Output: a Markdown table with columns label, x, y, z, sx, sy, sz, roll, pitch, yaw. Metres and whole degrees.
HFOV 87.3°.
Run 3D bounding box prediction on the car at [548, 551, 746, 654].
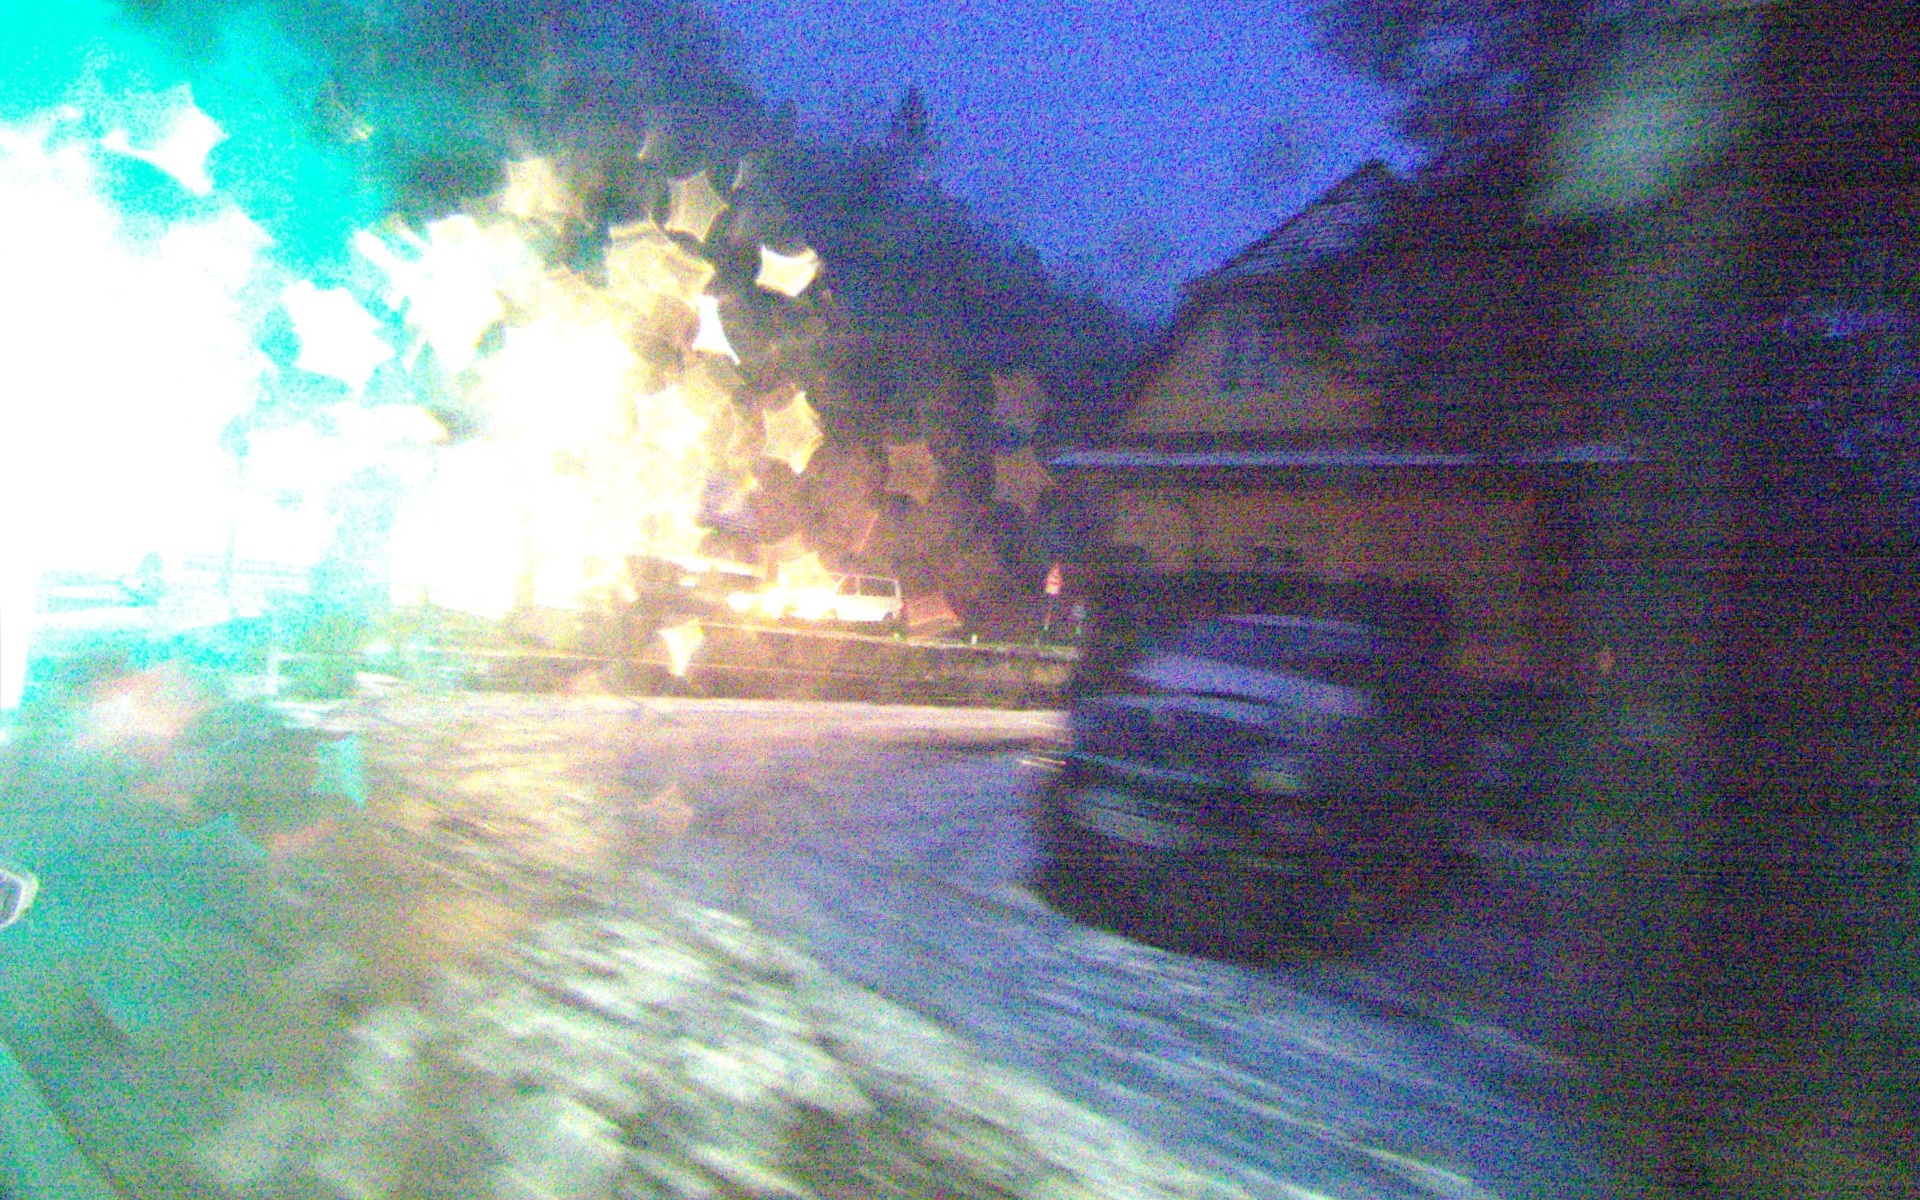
| label | x | y | z | sx | sy | sz | roll | pitch | yaw |
| --- | --- | --- | --- | --- | --- | --- | --- | --- | --- |
| car | -7.588 | 0.126 | 24.747 | 1.750 | 1.970 | 4.241 | 7 | -1 | 37 |

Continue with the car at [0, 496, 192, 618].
| label | x | y | z | sx | sy | sz | roll | pitch | yaw |
| --- | --- | --- | --- | --- | --- | --- | --- | --- | --- |
| car | -13.100 | -0.638 | 13.935 | 1.883 | 1.528 | 4.237 | 7 | -2 | -7 |

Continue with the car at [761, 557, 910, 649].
| label | x | y | z | sx | sy | sz | roll | pitch | yaw |
| --- | --- | --- | --- | --- | --- | --- | --- | --- | --- |
| car | -4.188 | 0.166 | 34.726 | 2.142 | 2.469 | 4.850 | 6 | -3 | 36 |

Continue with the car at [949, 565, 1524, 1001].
| label | x | y | z | sx | sy | sz | roll | pitch | yaw |
| --- | --- | --- | --- | --- | --- | --- | --- | --- | --- |
| car | 2.101 | 0.862 | 6.400 | 1.909 | 1.606 | 4.466 | 8 | 1 | 36 |
